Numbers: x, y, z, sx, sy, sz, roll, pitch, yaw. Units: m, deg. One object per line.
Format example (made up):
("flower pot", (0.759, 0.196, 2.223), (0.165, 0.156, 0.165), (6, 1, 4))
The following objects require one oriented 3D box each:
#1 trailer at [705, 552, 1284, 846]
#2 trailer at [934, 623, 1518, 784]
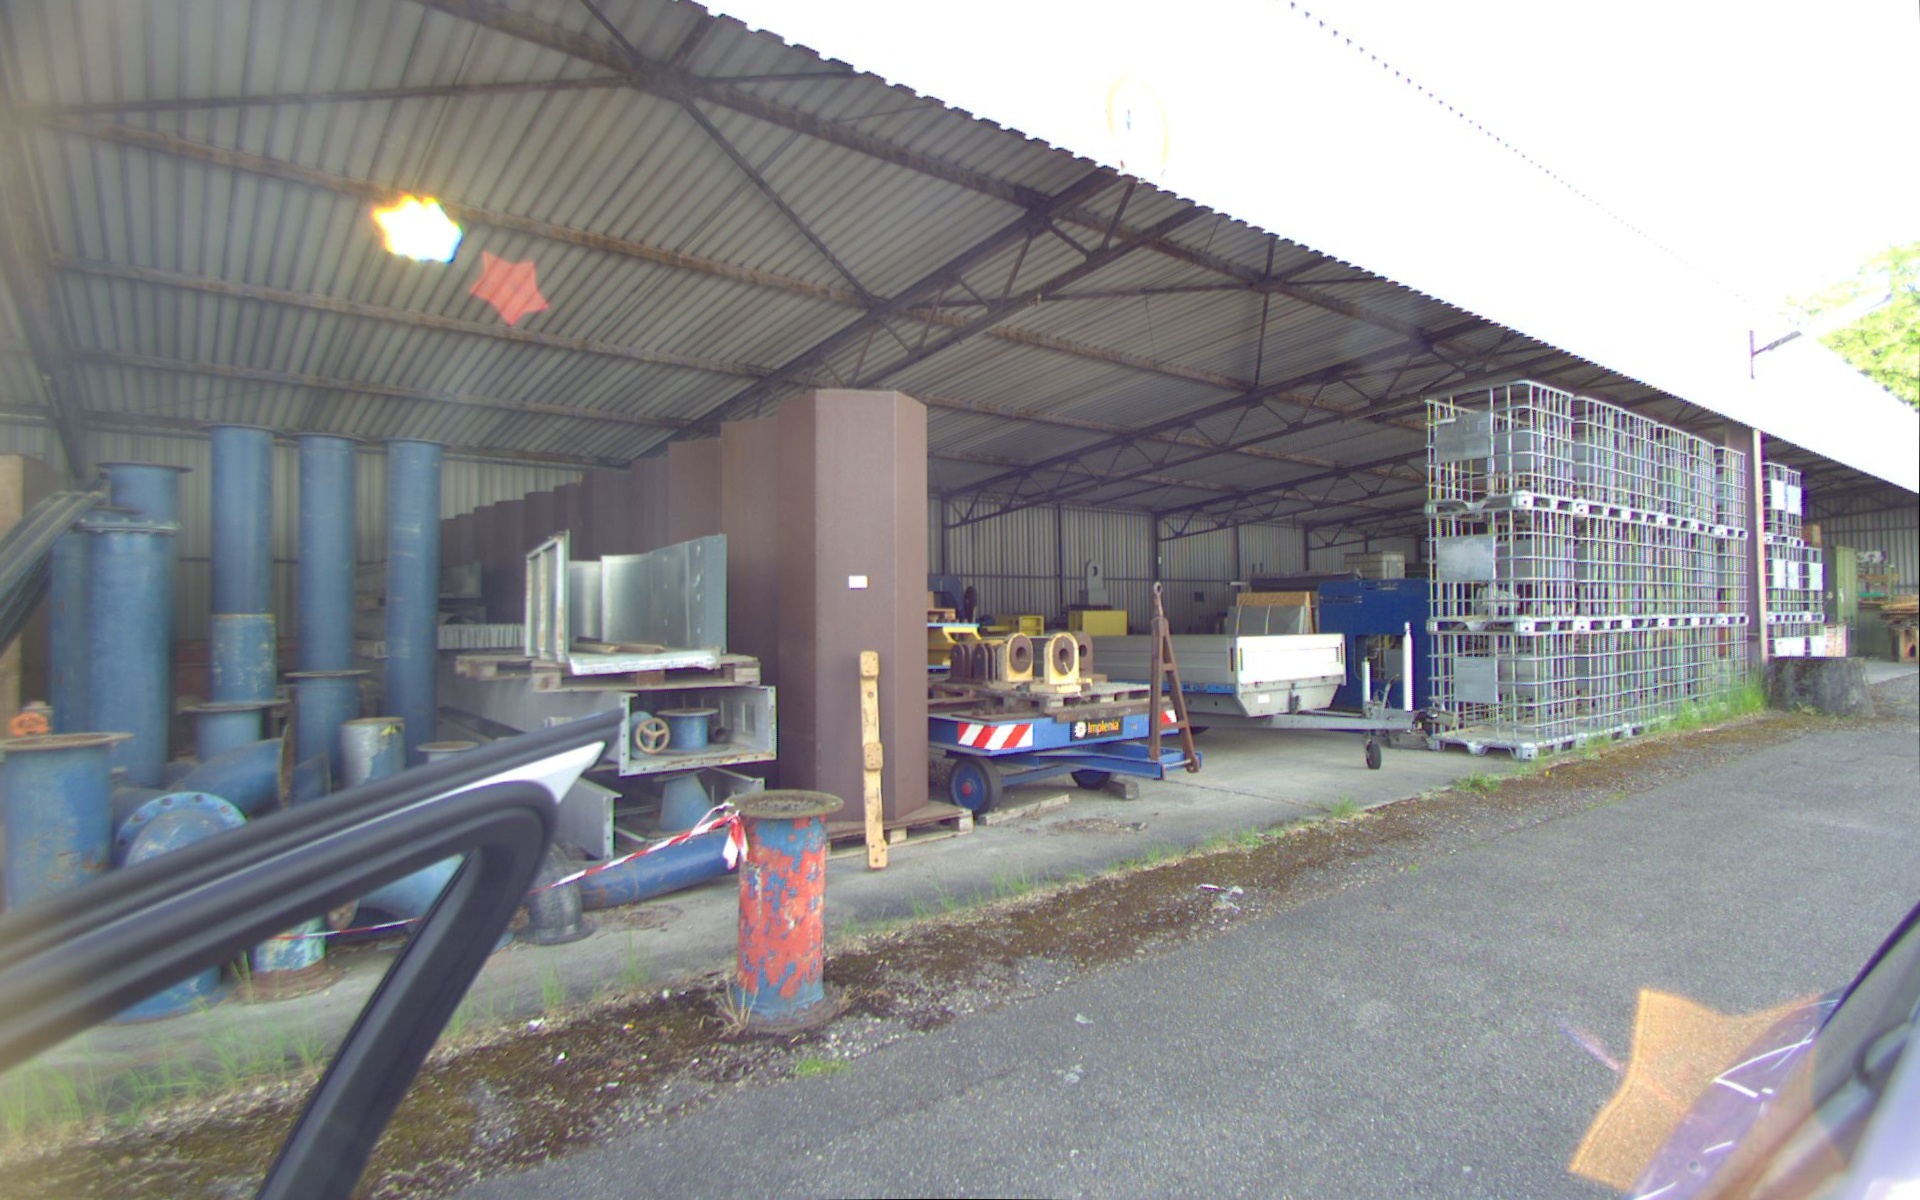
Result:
("trailer", (-0.085, 0.575, 8.214), (1.993, 1.649, 4.877), (0, -1, -39))
("trailer", (2.291, 0.842, 10.506), (1.993, 1.134, 5.834), (0, -1, -39))
